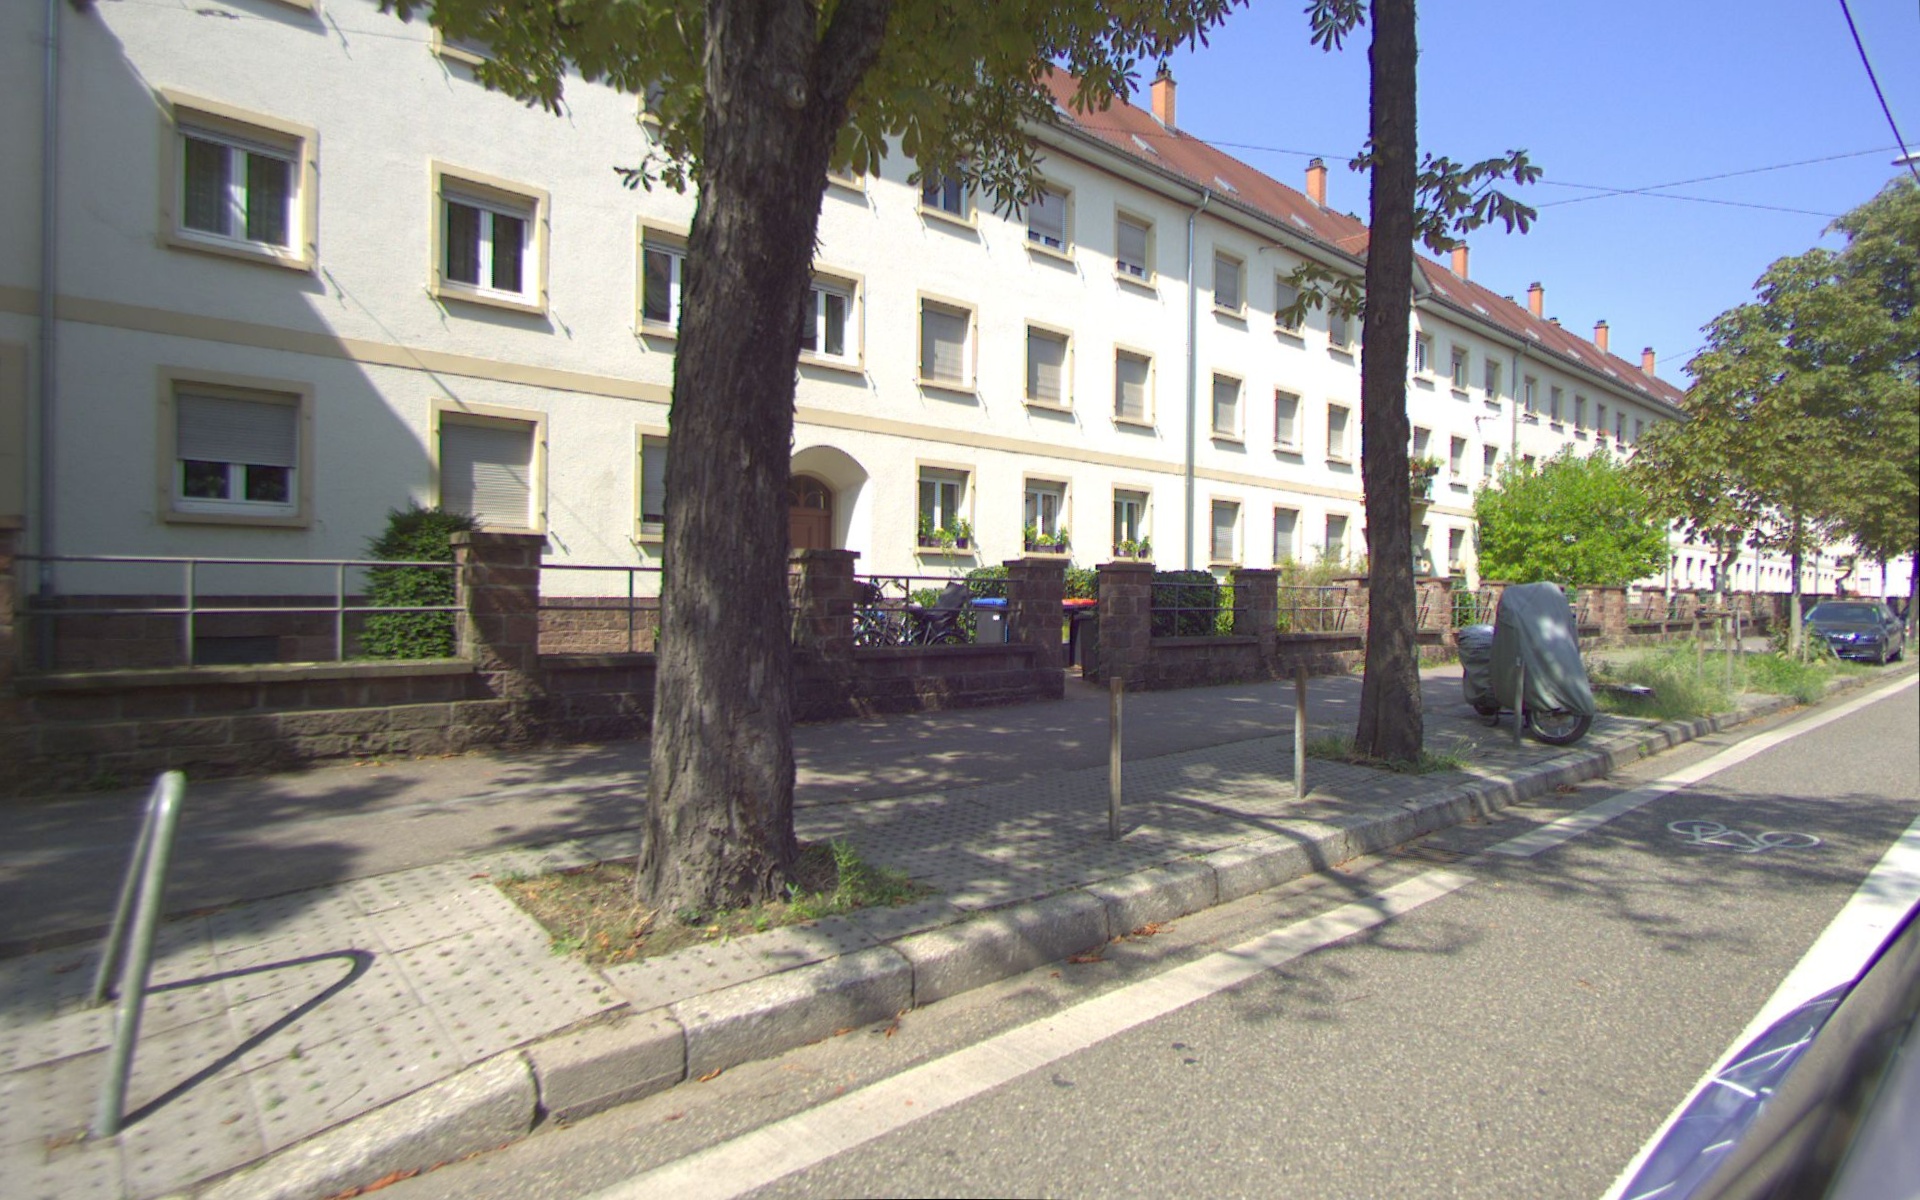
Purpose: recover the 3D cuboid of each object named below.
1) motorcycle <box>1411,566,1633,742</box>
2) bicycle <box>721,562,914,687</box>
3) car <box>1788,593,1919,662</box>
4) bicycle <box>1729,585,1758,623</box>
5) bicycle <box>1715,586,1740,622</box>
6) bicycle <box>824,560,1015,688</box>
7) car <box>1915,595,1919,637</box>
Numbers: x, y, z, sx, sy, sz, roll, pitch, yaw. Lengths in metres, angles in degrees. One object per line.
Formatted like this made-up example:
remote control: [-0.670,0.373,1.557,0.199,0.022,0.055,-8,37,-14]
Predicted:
motorcycle: [5.675,0.460,10.457,0.950,1.558,2.347,0,3,0]
bicycle: [-1.659,0.254,12.116,2.326,1.375,0.595,-1,1,-39]
car: [22.104,0.603,24.928,4.756,1.496,1.895,0,1,-42]
bicycle: [28.655,0.124,37.020,1.859,1.350,0.456,0,1,-41]
bicycle: [28.331,0.143,37.344,1.552,1.273,0.403,0,1,-41]
bicycle: [-0.426,0.245,11.797,2.326,1.375,0.595,-1,1,-39]
car: [35.930,0.575,36.536,4.311,1.496,1.758,0,1,-42]
